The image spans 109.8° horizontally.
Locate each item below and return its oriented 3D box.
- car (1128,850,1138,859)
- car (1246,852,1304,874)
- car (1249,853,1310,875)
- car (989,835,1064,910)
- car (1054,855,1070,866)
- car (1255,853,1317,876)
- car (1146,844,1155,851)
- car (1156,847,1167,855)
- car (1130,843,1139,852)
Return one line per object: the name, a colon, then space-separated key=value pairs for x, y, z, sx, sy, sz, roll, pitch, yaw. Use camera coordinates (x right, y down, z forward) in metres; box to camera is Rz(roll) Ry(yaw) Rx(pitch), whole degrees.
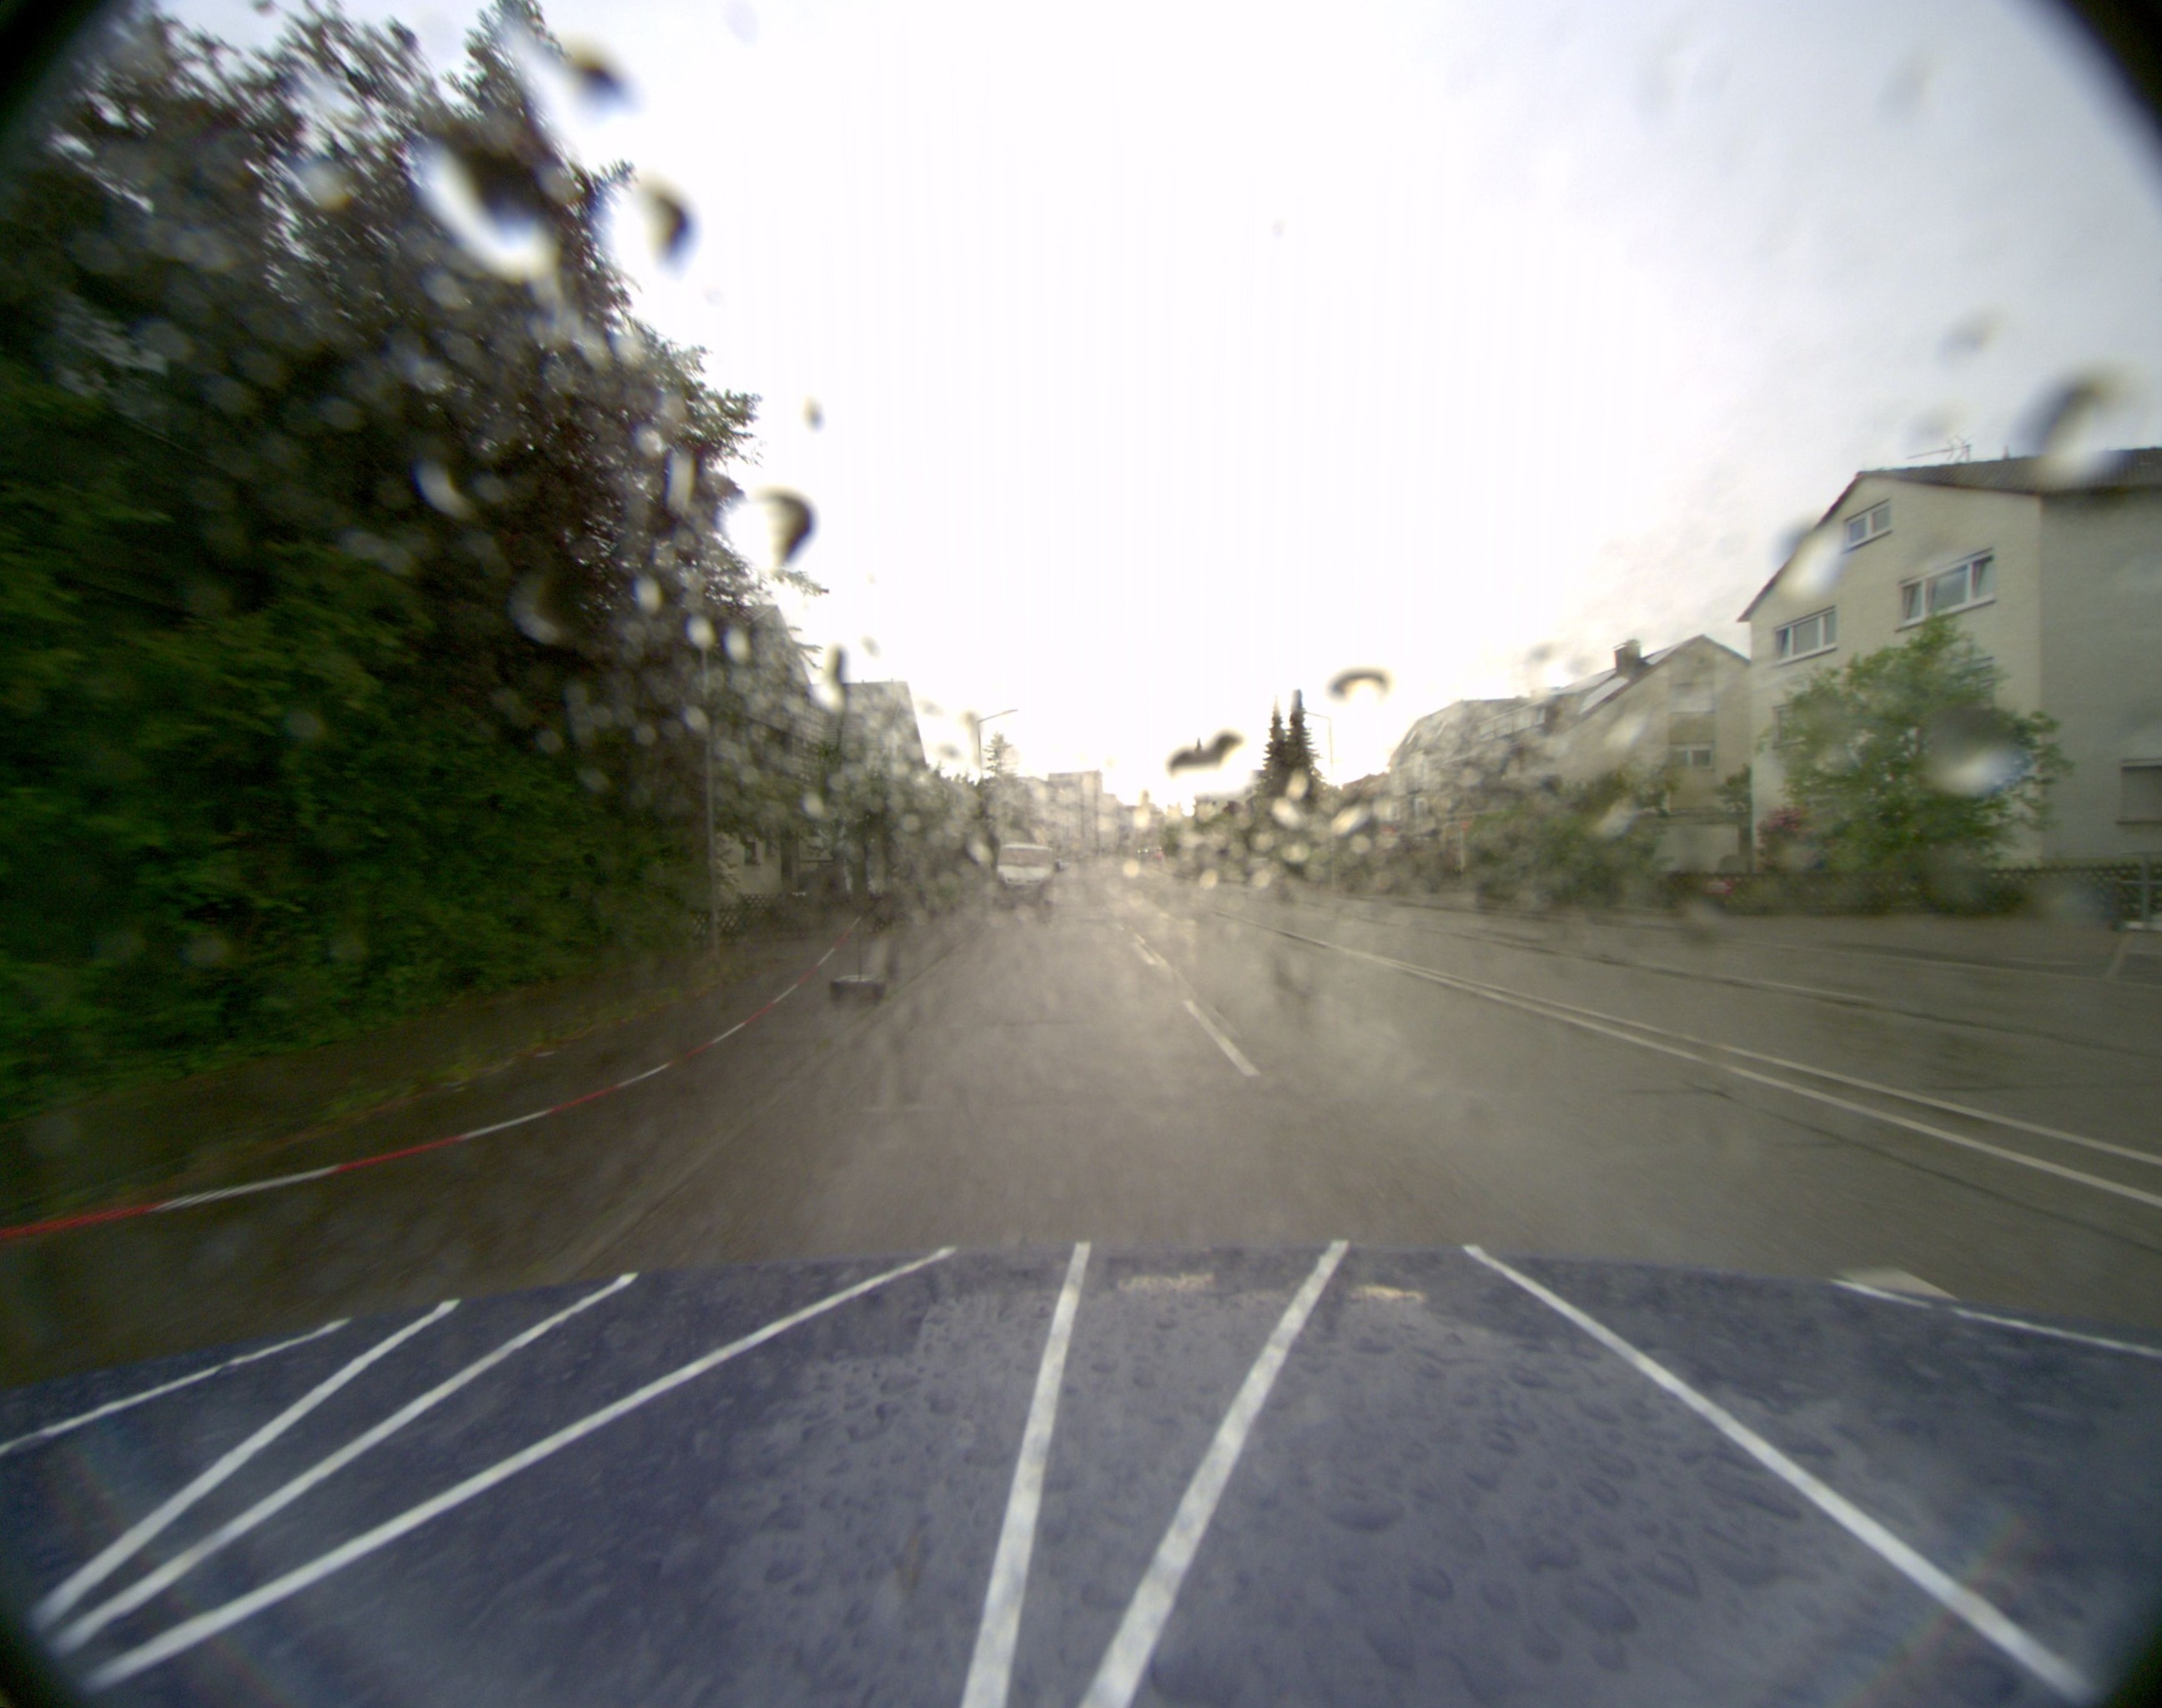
car: x=11.026 y=0.017 z=161.125 sx=1.851 sy=1.870 sz=4.122 roll=-1 pitch=0 yaw=3
car: x=15.219 y=0.704 z=59.804 sx=4.115 sy=1.536 sz=2.001 roll=-3 pitch=0 yaw=4
car: x=14.896 y=0.773 z=57.081 sx=4.155 sy=1.434 sz=1.891 roll=-3 pitch=0 yaw=6
car: x=-1.860 y=0.620 z=28.071 sx=2.397 sy=2.417 sz=6.432 roll=0 pitch=0 yaw=-1
car: x=-2.766 y=0.936 z=110.241 sx=1.912 sy=1.622 sz=3.703 roll=-1 pitch=0 yaw=3
car: x=14.654 y=0.761 z=54.476 sx=4.034 sy=1.434 sz=1.813 roll=-3 pitch=0 yaw=4
car: x=17.539 y=-1.620 z=191.560 sx=1.851 sy=1.753 sz=4.124 roll=-1 pitch=0 yaw=9
car: x=16.664 y=-0.567 z=157.765 sx=1.997 sy=1.606 sz=4.003 roll=-1 pitch=0 yaw=10
car: x=11.788 y=-1.421 z=168.041 sx=1.851 sy=1.753 sz=4.122 roll=-1 pitch=0 yaw=4
